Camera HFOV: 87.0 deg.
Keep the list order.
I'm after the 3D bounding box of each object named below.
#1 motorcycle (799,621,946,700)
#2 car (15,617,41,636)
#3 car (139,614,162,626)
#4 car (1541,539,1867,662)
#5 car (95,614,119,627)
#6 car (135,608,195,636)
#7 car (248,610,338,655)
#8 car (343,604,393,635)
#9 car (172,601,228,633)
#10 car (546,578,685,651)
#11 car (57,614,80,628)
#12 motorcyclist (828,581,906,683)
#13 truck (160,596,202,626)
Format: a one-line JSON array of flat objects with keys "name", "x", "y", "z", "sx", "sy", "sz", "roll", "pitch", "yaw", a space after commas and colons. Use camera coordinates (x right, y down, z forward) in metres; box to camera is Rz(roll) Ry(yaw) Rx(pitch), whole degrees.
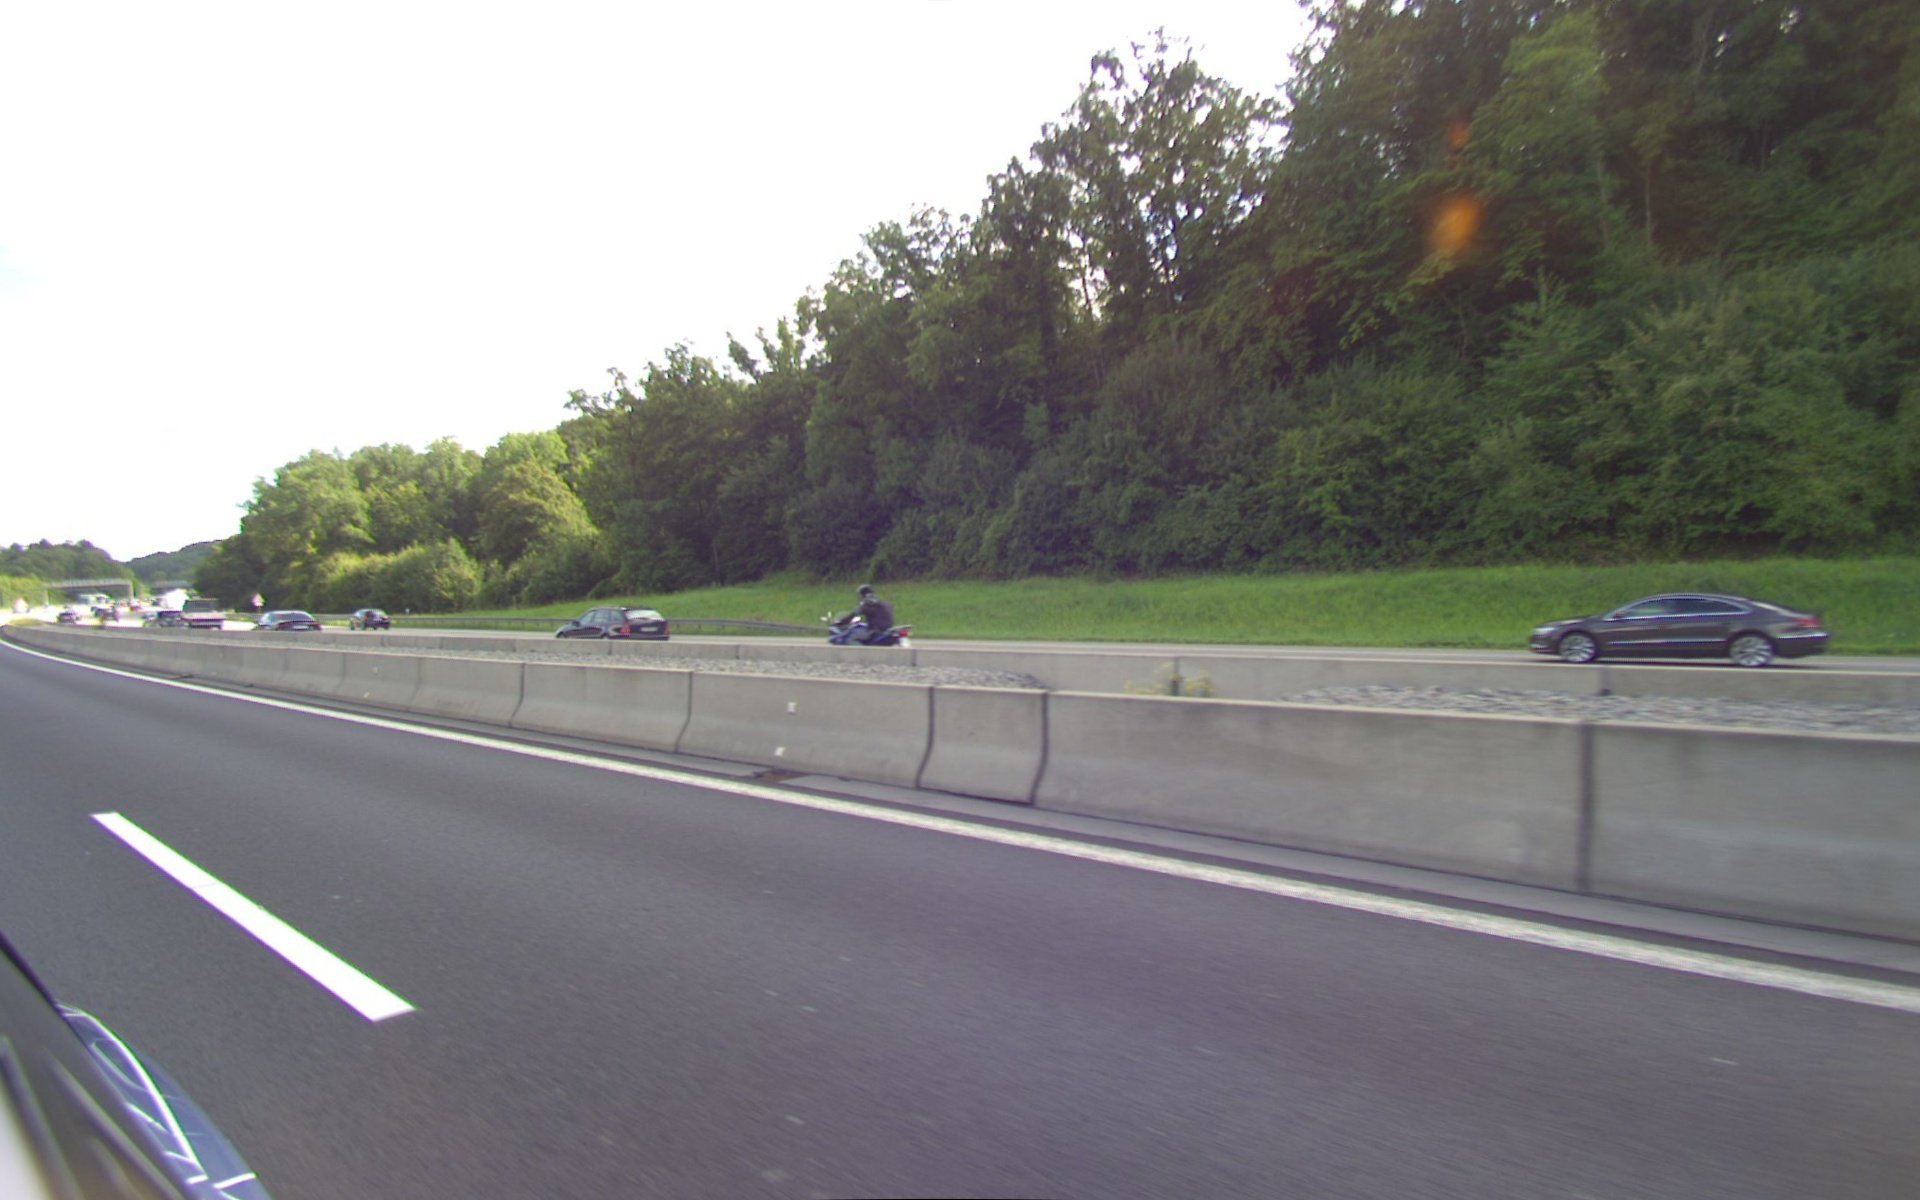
[{"name": "motorcycle", "x": -1.495, "y": 0.960, "z": 16.899, "sx": 2.639, "sy": 1.197, "sz": 0.912, "roll": -1, "pitch": 0, "yaw": 44}, {"name": "car", "x": -102.000, "y": 2.908, "z": 110.786, "sx": 1.970, "sy": 2.050, "sz": 4.003, "roll": -1, "pitch": 0, "yaw": -44}, {"name": "car", "x": -102.808, "y": 2.574, "z": 128.521, "sx": 1.878, "sy": 1.476, "sz": 4.345, "roll": -1, "pitch": 0, "yaw": -44}, {"name": "car", "x": 13.982, "y": 0.043, "z": 19.260, "sx": 4.778, "sy": 2.050, "sz": 2.005, "roll": -1, "pitch": 0, "yaw": 40}, {"name": "car", "x": -111.454, "y": 2.682, "z": 132.212, "sx": 2.013, "sy": 1.627, "sz": 5.043, "roll": -1, "pitch": 0, "yaw": -44}, {"name": "car", "x": -47.286, "y": 1.298, "z": 60.149, "sx": 5.962, "sy": 1.521, "sz": 1.960, "roll": -1, "pitch": 0, "yaw": 44}, {"name": "car", "x": -26.799, "y": 1.259, "z": 40.591, "sx": 4.778, "sy": 1.639, "sz": 1.972, "roll": 0, "pitch": 0, "yaw": 43}, {"name": "car", "x": -41.673, "y": 1.371, "z": 71.182, "sx": 4.000, "sy": 2.050, "sz": 1.972, "roll": -1, "pitch": 0, "yaw": 43}, {"name": "car", "x": -55.281, "y": 1.239, "z": 73.564, "sx": 2.175, "sy": 2.146, "sz": 8.081, "roll": -1, "pitch": 0, "yaw": -45}, {"name": "car", "x": -10.487, "y": 0.405, "z": 30.667, "sx": 4.778, "sy": 2.029, "sz": 1.972, "roll": 0, "pitch": 0, "yaw": 43}, {"name": "car", "x": -110.363, "y": 2.576, "z": 125.211, "sx": 4.484, "sy": 1.618, "sz": 1.781, "roll": -1, "pitch": 0, "yaw": 44}, {"name": "motorcyclist", "x": -1.564, "y": 0.513, "z": 16.957, "sx": 0.922, "sy": 1.645, "sz": 0.885, "roll": -1, "pitch": 0, "yaw": 42}, {"name": "truck", "x": -115.207, "y": 1.606, "z": 149.591, "sx": 3.410, "sy": 4.158, "sz": 13.689, "roll": -1, "pitch": 0, "yaw": -44}]
